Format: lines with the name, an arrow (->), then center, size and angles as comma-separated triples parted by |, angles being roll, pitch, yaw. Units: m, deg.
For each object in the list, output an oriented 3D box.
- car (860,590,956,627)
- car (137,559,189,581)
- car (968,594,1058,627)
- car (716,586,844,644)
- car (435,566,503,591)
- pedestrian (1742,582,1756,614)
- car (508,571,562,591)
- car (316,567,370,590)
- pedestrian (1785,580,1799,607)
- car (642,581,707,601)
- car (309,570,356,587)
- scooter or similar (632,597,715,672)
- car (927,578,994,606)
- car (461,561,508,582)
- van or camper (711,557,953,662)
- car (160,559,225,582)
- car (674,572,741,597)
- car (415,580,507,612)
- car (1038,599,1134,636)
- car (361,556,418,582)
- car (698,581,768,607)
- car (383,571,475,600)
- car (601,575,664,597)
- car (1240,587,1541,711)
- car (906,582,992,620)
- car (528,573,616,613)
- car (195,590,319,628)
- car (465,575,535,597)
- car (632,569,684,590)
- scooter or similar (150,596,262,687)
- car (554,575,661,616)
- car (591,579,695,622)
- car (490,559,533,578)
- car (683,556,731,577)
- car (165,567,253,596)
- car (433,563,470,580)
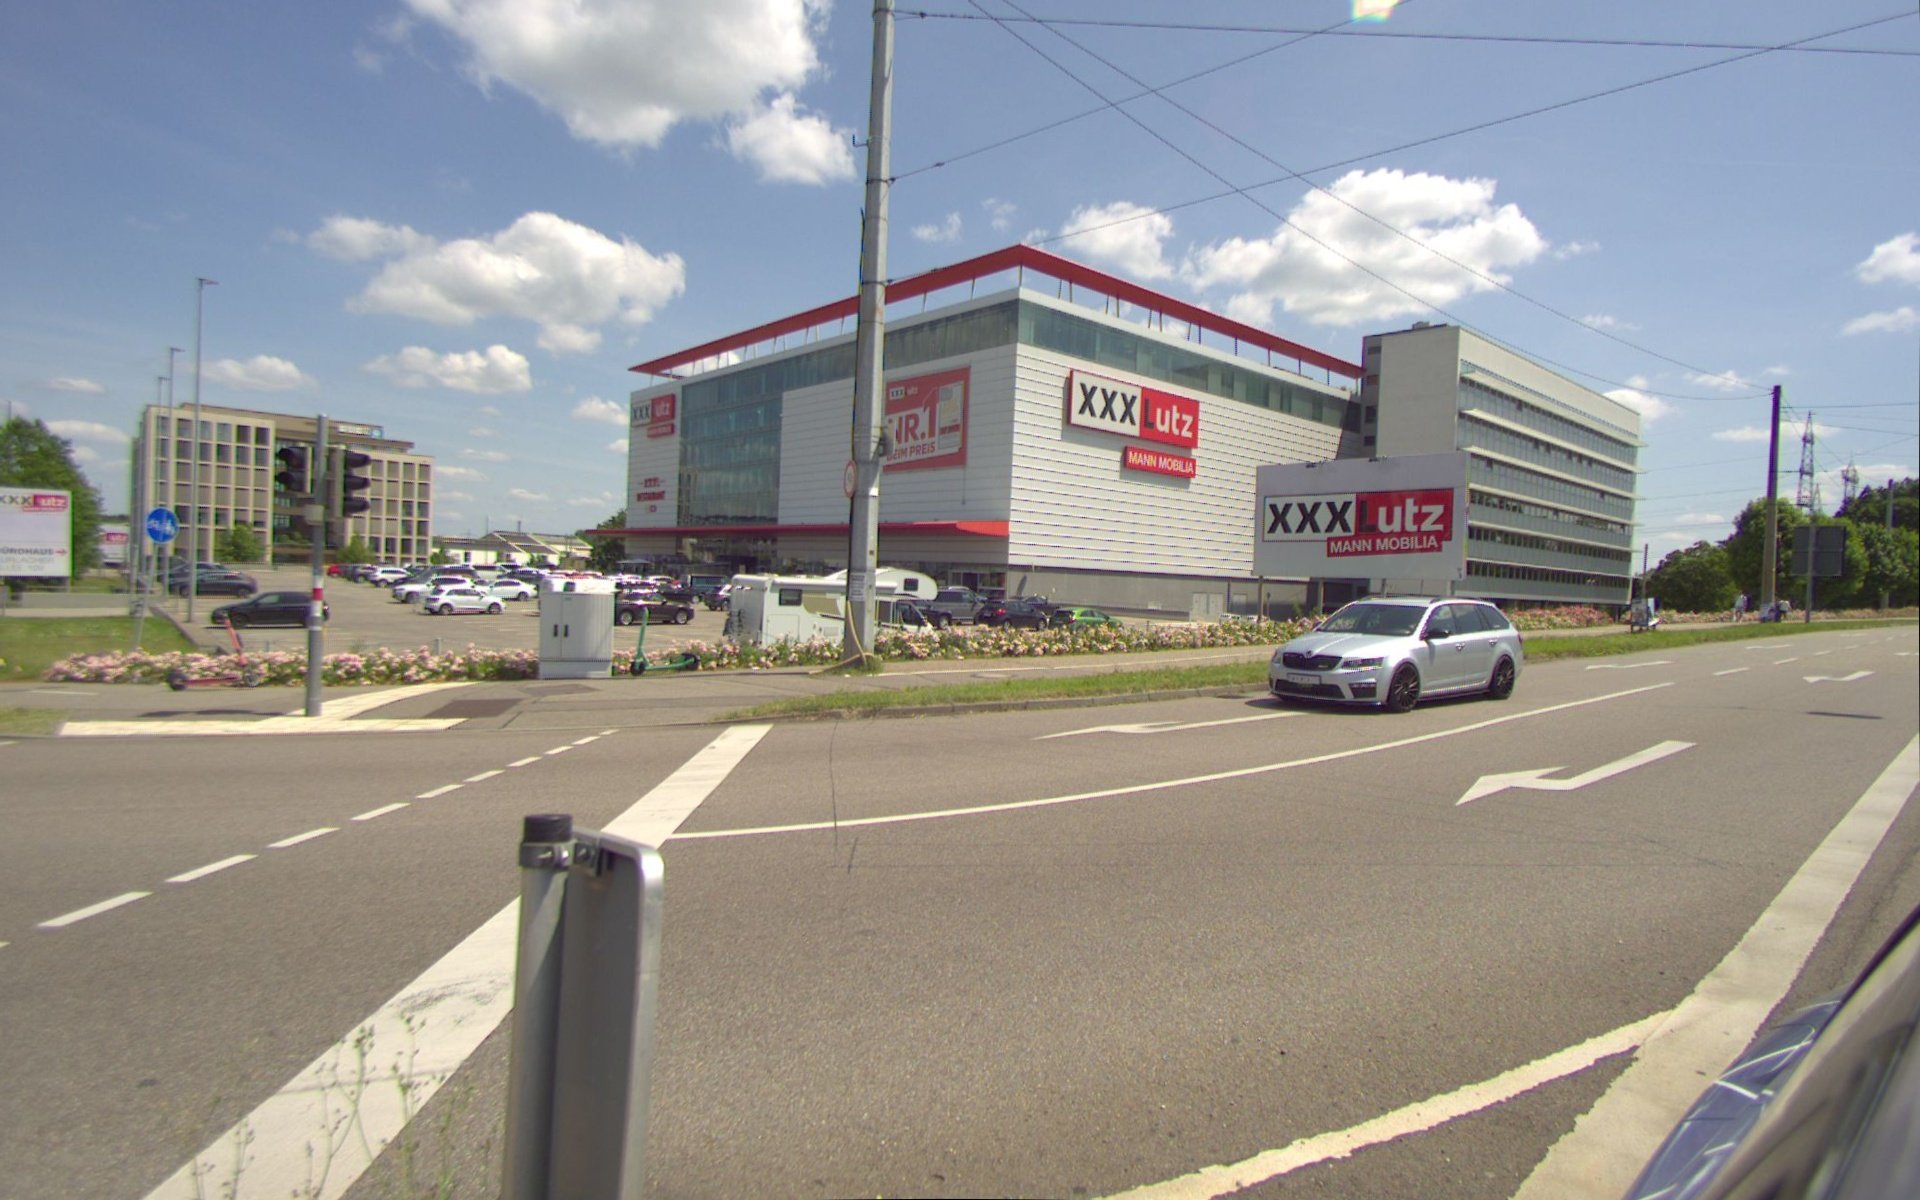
car -> -2.533, 0.380, 49.541 | 4.424, 1.738, 1.997 | -1, 1, -41
car -> -78.344, -2.932, 99.464 | 3.930, 2.039, 1.997 | 0, 1, -41
car -> 2.710, 0.489, 51.274 | 4.441, 1.574, 1.997 | 0, 1, -41
car -> -6.837, 0.535, 38.639 | 4.373, 2.039, 1.998 | 0, 1, -39
car -> -35.118, -1.545, 72.407 | 4.096, 1.723, 1.853 | 1, 1, -39
pedestrian -> 45.393, -0.117, 58.221 | 0.623, 1.816, 0.517 | 0, 0, -42
car -> -37.786, -1.693, 90.054 | 4.096, 1.723, 1.853 | 0, 1, -39
car -> -56.447, -1.984, 92.559 | 3.930, 2.039, 1.997 | 0, 1, -41
pedestrian -> 51.663, -0.391, 62.851 | 0.623, 1.676, 0.598 | 0, 0, -42
car -> -19.439, -0.638, 68.964 | 3.931, 1.326, 1.691 | 0, 1, -42
car -> -65.484, -2.229, 105.663 | 3.931, 1.749, 1.735 | -1, 1, -42
scooter or similar -> -4.748, 0.559, 16.820 | 1.252, 1.140, 0.481 | -3, 1, -14
car -> 0.044, -0.565, 70.400 | 4.440, 1.946, 1.997 | 0, 1, -41
car -> -47.737, -2.836, 101.571 | 3.927, 2.039, 1.998 | 0, 1, -38
van or camper -> -3.937, 0.216, 32.408 | 7.479, 2.983, 2.714 | -1, 1, -40
car -> -59.298, -2.277, 78.243 | 3.927, 1.705, 1.999 | 0, 1, -38
car -> -18.635, -1.122, 74.784 | 4.441, 1.756, 1.997 | 0, 1, -41
car -> -25.888, -0.227, 52.563 | 1.848, 1.565, 3.937 | 1, 1, 43
car -> 5.964, 0.788, 47.565 | 4.440, 1.583, 1.998 | 0, 1, -40
car -> -47.865, -2.584, 84.969 | 3.930, 2.039, 1.543 | 0, 1, -41
car -> -14.026, -0.366, 62.664 | 3.929, 1.545, 1.649 | 0, 1, -40
car -> -32.734, -0.868, 62.447 | 4.781, 1.723, 1.853 | 0, 1, -38
car -> -23.529, -0.976, 72.789 | 3.931, 1.546, 1.691 | 0, 1, -42
car -> 5.944, 0.564, 13.766 | 4.377, 1.415, 1.803 | 0, 1, -37
car -> -0.570, 0.030, 54.471 | 4.441, 1.918, 1.997 | 0, 1, -41
car -> -20.480, -0.384, 53.507 | 3.930, 2.039, 1.997 | -1, 1, -41
car -> -27.880, 0.328, 40.206 | 3.874, 1.393, 1.851 | 0, 1, -42
car -> -30.636, -0.915, 67.459 | 3.927, 1.457, 1.853 | 0, 1, -38
car -> -24.553, -1.662, 82.408 | 3.666, 1.622, 1.691 | 0, 1, -42
scooter or similar -> -11.142, 0.595, 14.987 | 1.252, 1.307, 0.481 | 0, 0, -24
car -> -18.128, -0.245, 52.162 | 4.878, 2.039, 1.997 | -1, 1, -40
car -> -14.998, 0.007, 48.016 | 4.407, 1.936, 1.589 | 0, 1, -40
car -> -50.060, -3.446, 112.963 | 3.932, 2.039, 1.996 | 0, 1, -43
car -> -24.818, -3.287, 99.314 | 4.211, 2.039, 1.849 | -1, 1, -40
car -> -45.268, -1.119, 61.031 | 4.056, 1.705, 1.995 | 0, 1, -44
car -> -54.625, -3.052, 108.720 | 3.321, 1.828, 1.700 | 0, 1, -40
